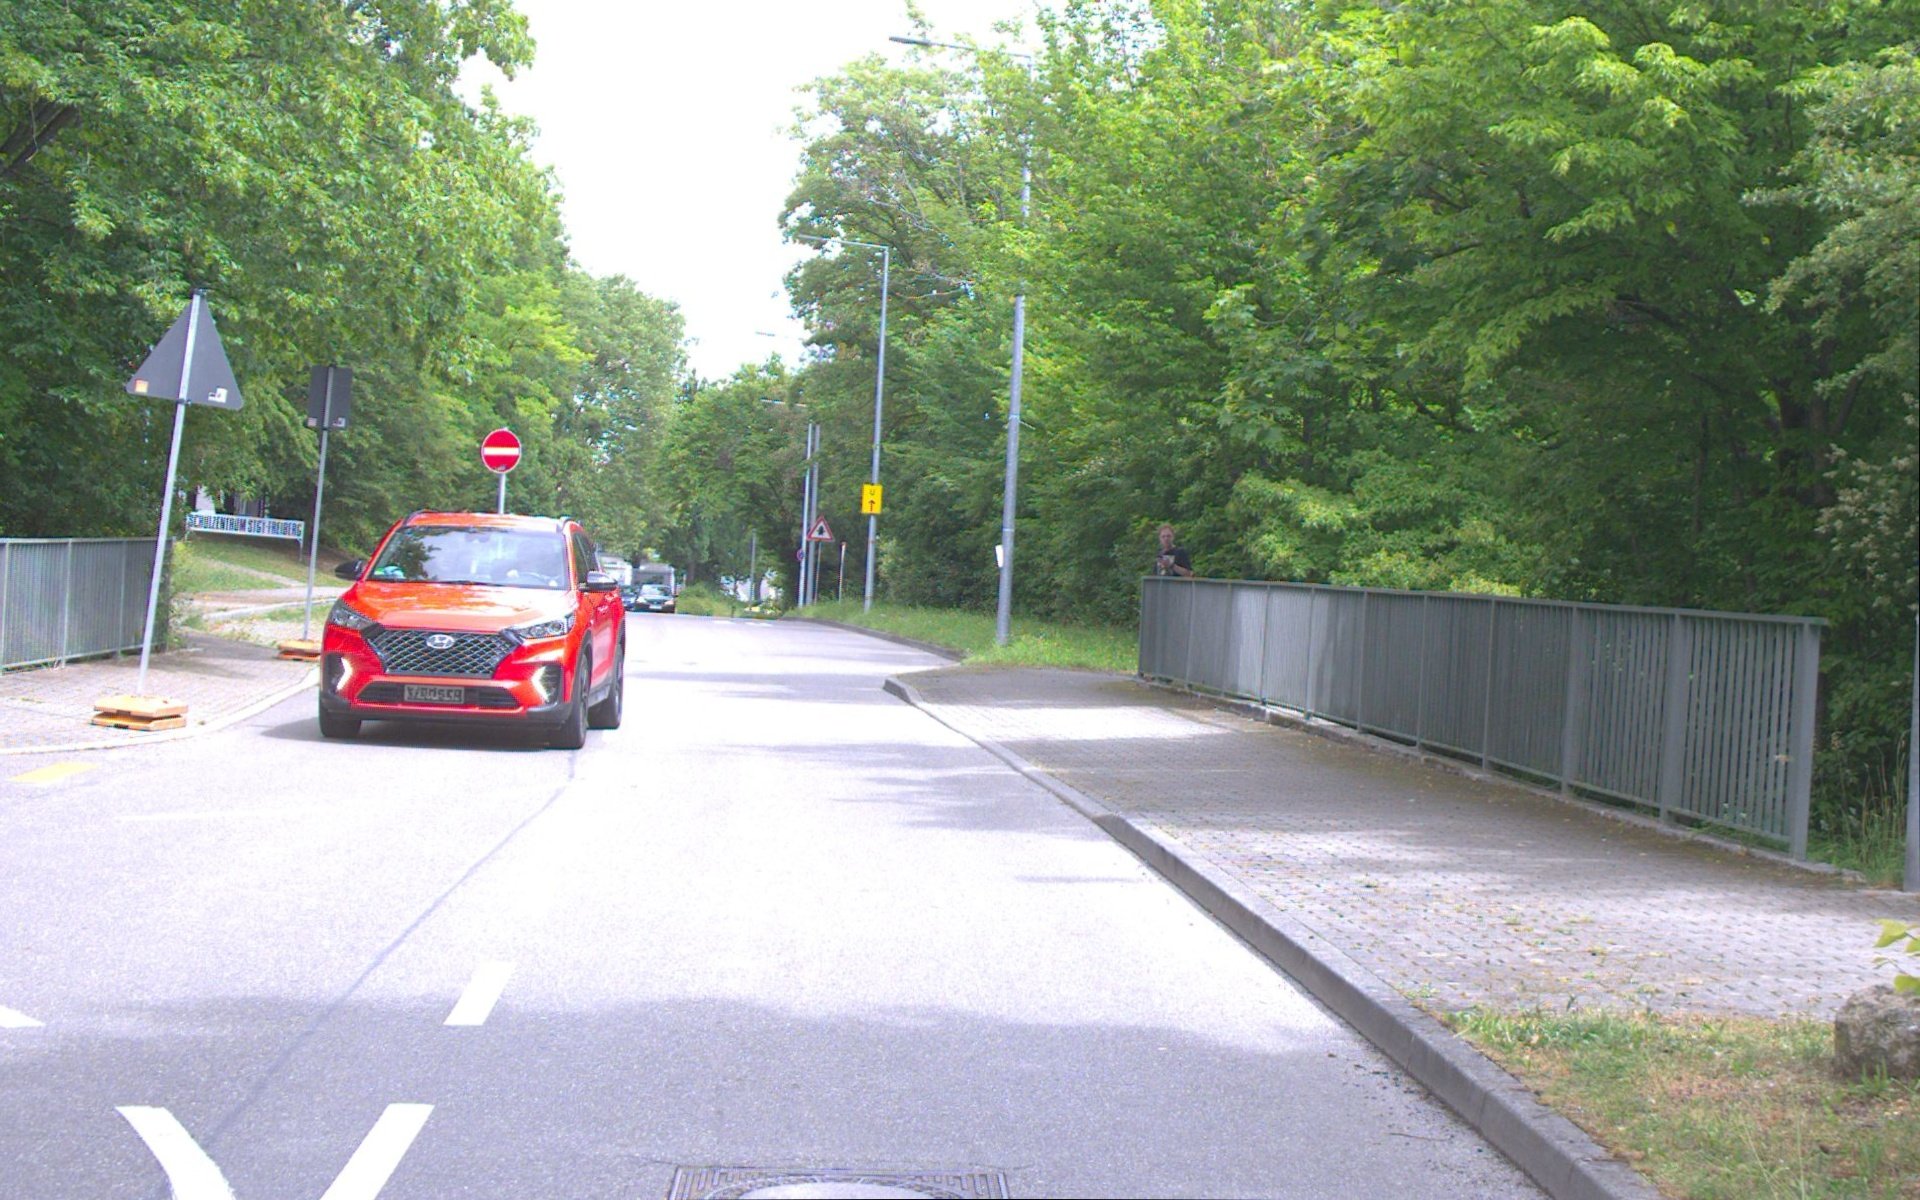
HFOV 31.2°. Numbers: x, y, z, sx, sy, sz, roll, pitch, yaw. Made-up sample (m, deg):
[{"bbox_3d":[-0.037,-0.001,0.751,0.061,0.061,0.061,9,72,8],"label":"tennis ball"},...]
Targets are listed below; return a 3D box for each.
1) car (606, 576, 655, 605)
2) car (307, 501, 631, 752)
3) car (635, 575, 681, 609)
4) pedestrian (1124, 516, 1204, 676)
[{"bbox_3d":[-17.636,-0.499,183.961,1.979,1.379,3.999,4,0,2],"label":"car"},{"bbox_3d":[-3.534,0.139,25.427,1.843,1.653,4.222,2,1,-1],"label":"car"},{"bbox_3d":[-12.713,-0.341,144.912,1.693,1.344,4.095,3,0,-2],"label":"car"},{"bbox_3d":[2.306,-0.049,38.909,0.587,1.777,0.682,3,-1,-24],"label":"pedestrian"}]
